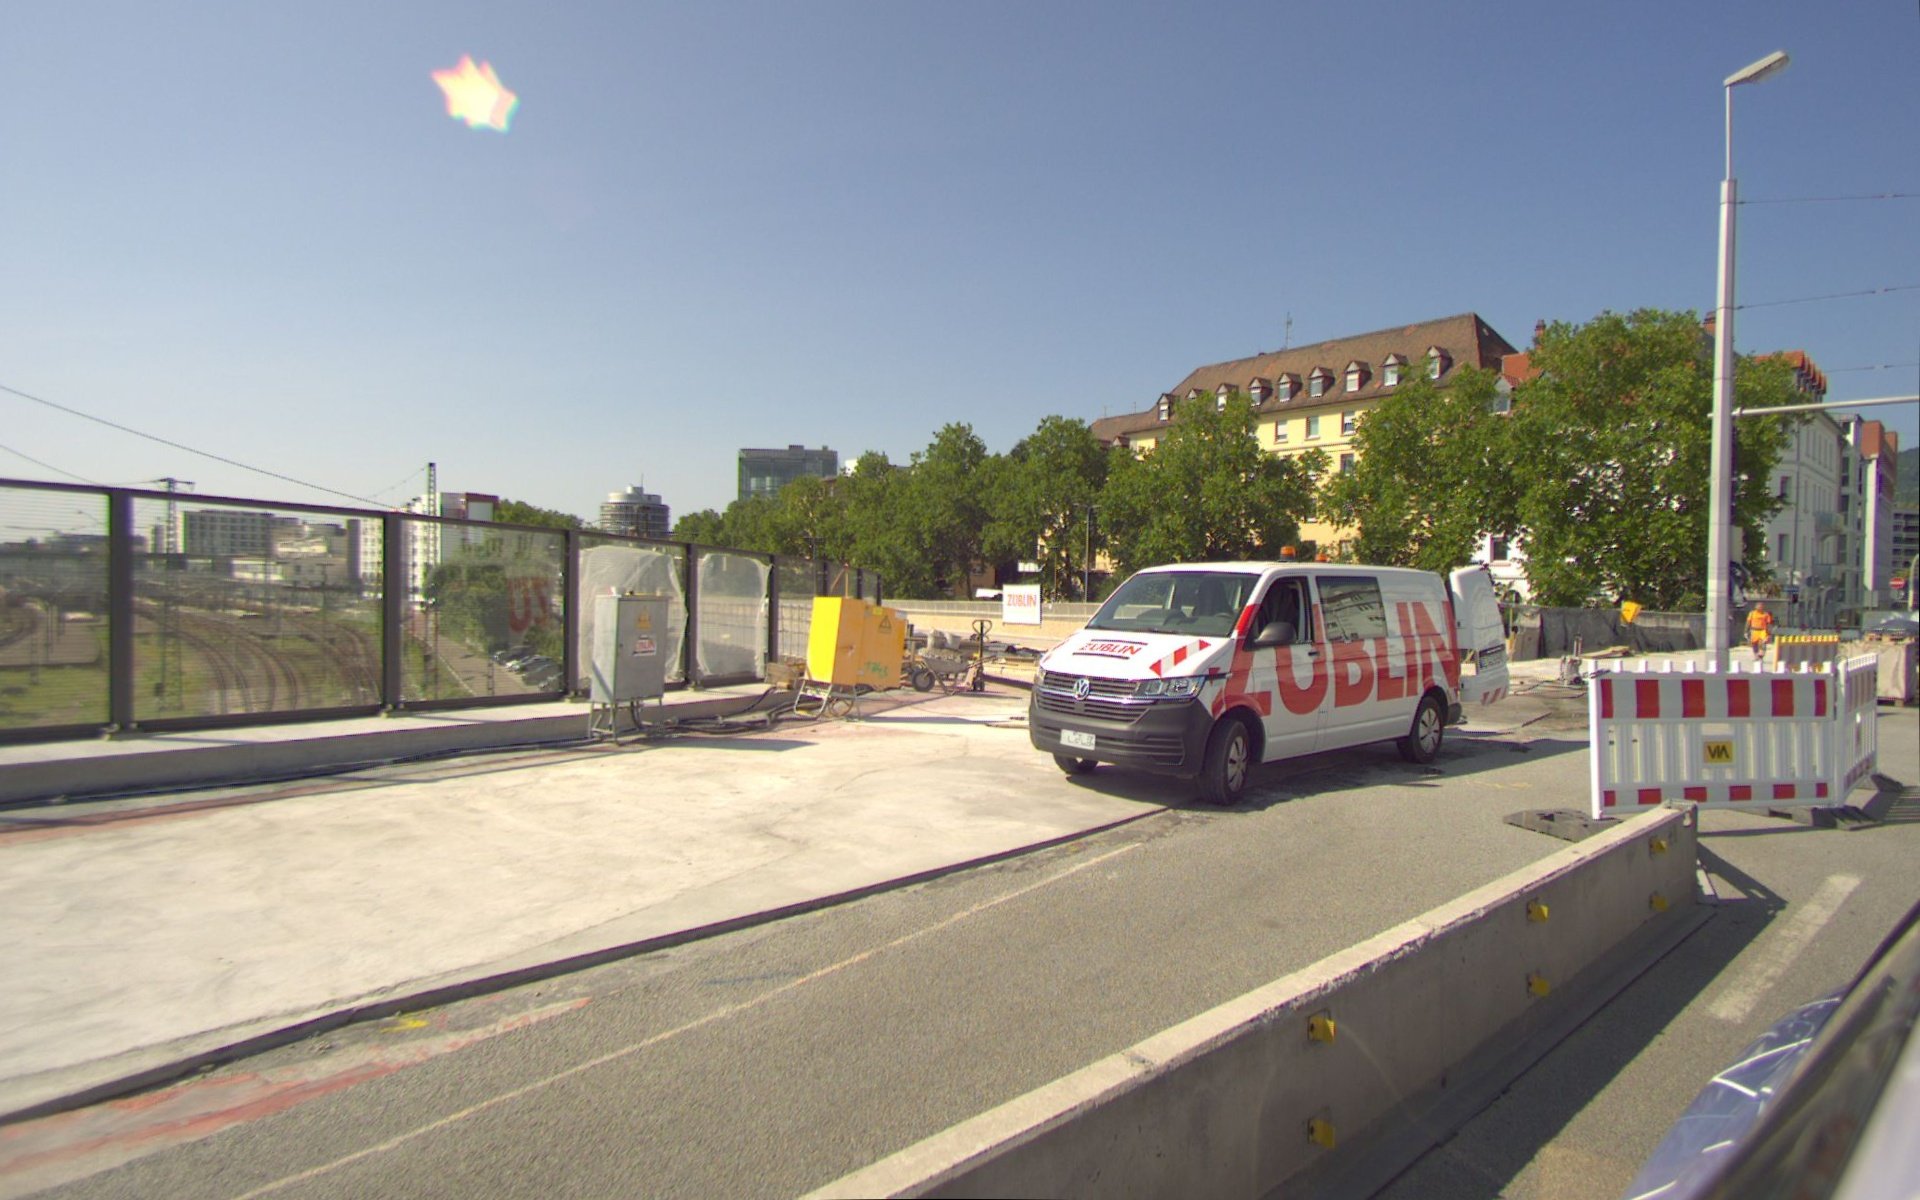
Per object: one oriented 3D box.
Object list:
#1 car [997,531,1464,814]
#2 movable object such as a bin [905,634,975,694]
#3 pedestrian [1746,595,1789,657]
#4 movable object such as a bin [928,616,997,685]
[{"bbox_3d":[2.759,0.513,9.615,4.804,2.059,1.882,0,0,-40],"label":"car"},{"bbox_3d":[-0.336,1.045,16.737,1.083,0.853,0.757,5,0,-1],"label":"movable object such as a bin"},{"bbox_3d":[24.539,0.782,30.771,0.849,1.817,0.821,1,2,-42],"label":"pedestrian"},{"bbox_3d":[0.011,0.906,18.263,0.595,1.144,2.045,-2,-2,-18],"label":"movable object such as a bin"}]
